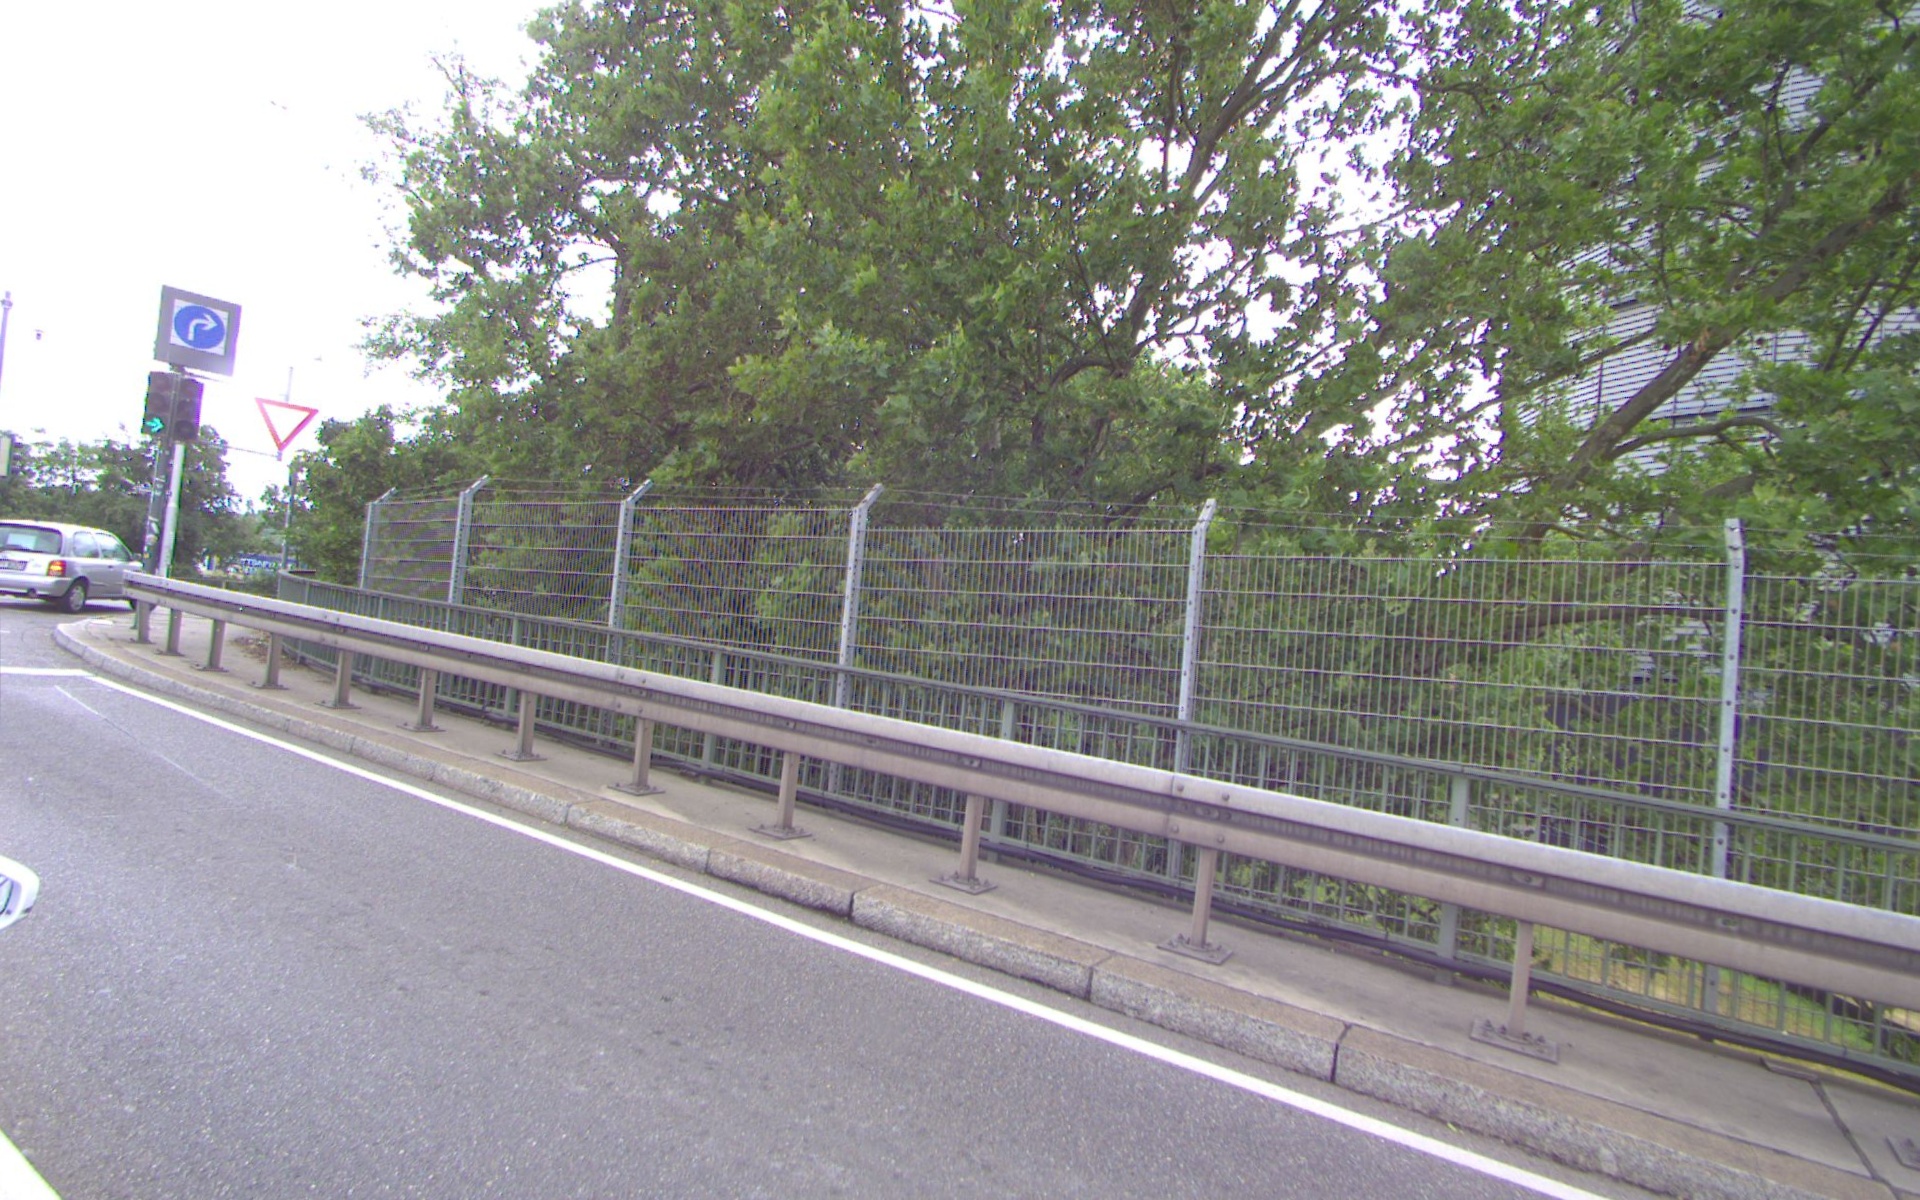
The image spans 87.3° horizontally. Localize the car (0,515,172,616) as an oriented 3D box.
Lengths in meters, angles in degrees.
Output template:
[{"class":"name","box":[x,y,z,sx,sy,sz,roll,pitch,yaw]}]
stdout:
[{"class":"car","box":[-15.397,-0.584,17.311,1.566,1.448,3.432,7,-2,-16]}]
